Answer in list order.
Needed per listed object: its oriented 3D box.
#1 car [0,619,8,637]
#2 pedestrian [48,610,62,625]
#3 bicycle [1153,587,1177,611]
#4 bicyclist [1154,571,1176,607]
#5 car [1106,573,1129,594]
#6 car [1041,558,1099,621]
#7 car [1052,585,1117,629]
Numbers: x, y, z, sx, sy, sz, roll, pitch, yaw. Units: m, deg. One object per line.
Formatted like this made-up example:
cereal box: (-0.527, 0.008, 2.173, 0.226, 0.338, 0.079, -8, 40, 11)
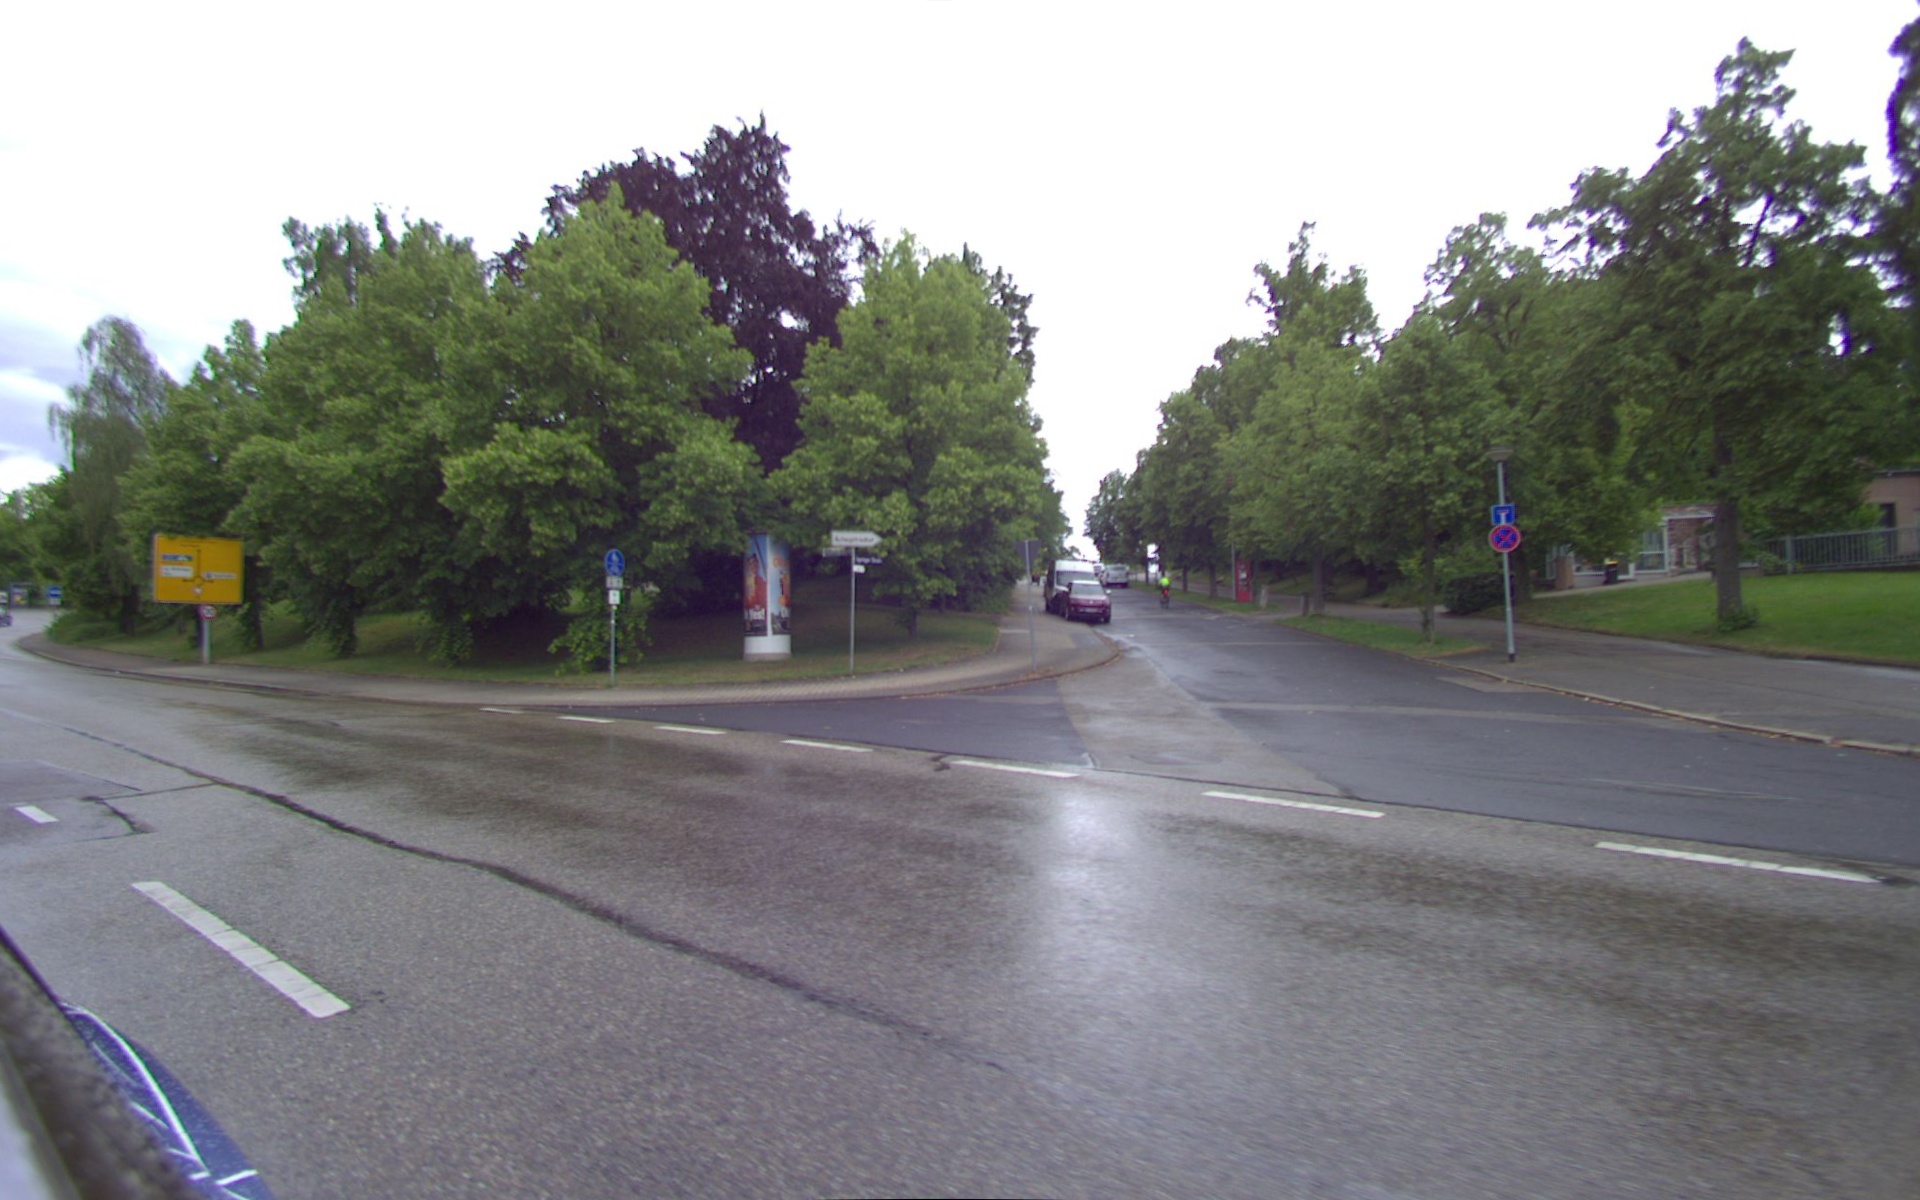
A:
car: (-75.331, 2.126, 78.146, 1.697, 1.394, 4.151, 3, -4, -31)
pedestrian: (-102.478, 1.951, 114.634, 0.912, 1.667, 1.101, 2, -2, -28)
bicycle: (10.346, -0.022, 51.229, 0.843, 1.164, 2.036, 1, -1, 2)
bicyclist: (10.352, -0.544, 51.185, 0.843, 1.769, 1.285, 1, -1, 2)
car: (13.861, -1.443, 89.128, 1.854, 1.682, 4.194, -2, 0, 8)
car: (5.049, -0.426, 47.287, 2.128, 2.720, 5.667, -1, -1, 1)
car: (5.078, 0.300, 41.809, 1.948, 1.681, 4.002, -1, -1, -3)
